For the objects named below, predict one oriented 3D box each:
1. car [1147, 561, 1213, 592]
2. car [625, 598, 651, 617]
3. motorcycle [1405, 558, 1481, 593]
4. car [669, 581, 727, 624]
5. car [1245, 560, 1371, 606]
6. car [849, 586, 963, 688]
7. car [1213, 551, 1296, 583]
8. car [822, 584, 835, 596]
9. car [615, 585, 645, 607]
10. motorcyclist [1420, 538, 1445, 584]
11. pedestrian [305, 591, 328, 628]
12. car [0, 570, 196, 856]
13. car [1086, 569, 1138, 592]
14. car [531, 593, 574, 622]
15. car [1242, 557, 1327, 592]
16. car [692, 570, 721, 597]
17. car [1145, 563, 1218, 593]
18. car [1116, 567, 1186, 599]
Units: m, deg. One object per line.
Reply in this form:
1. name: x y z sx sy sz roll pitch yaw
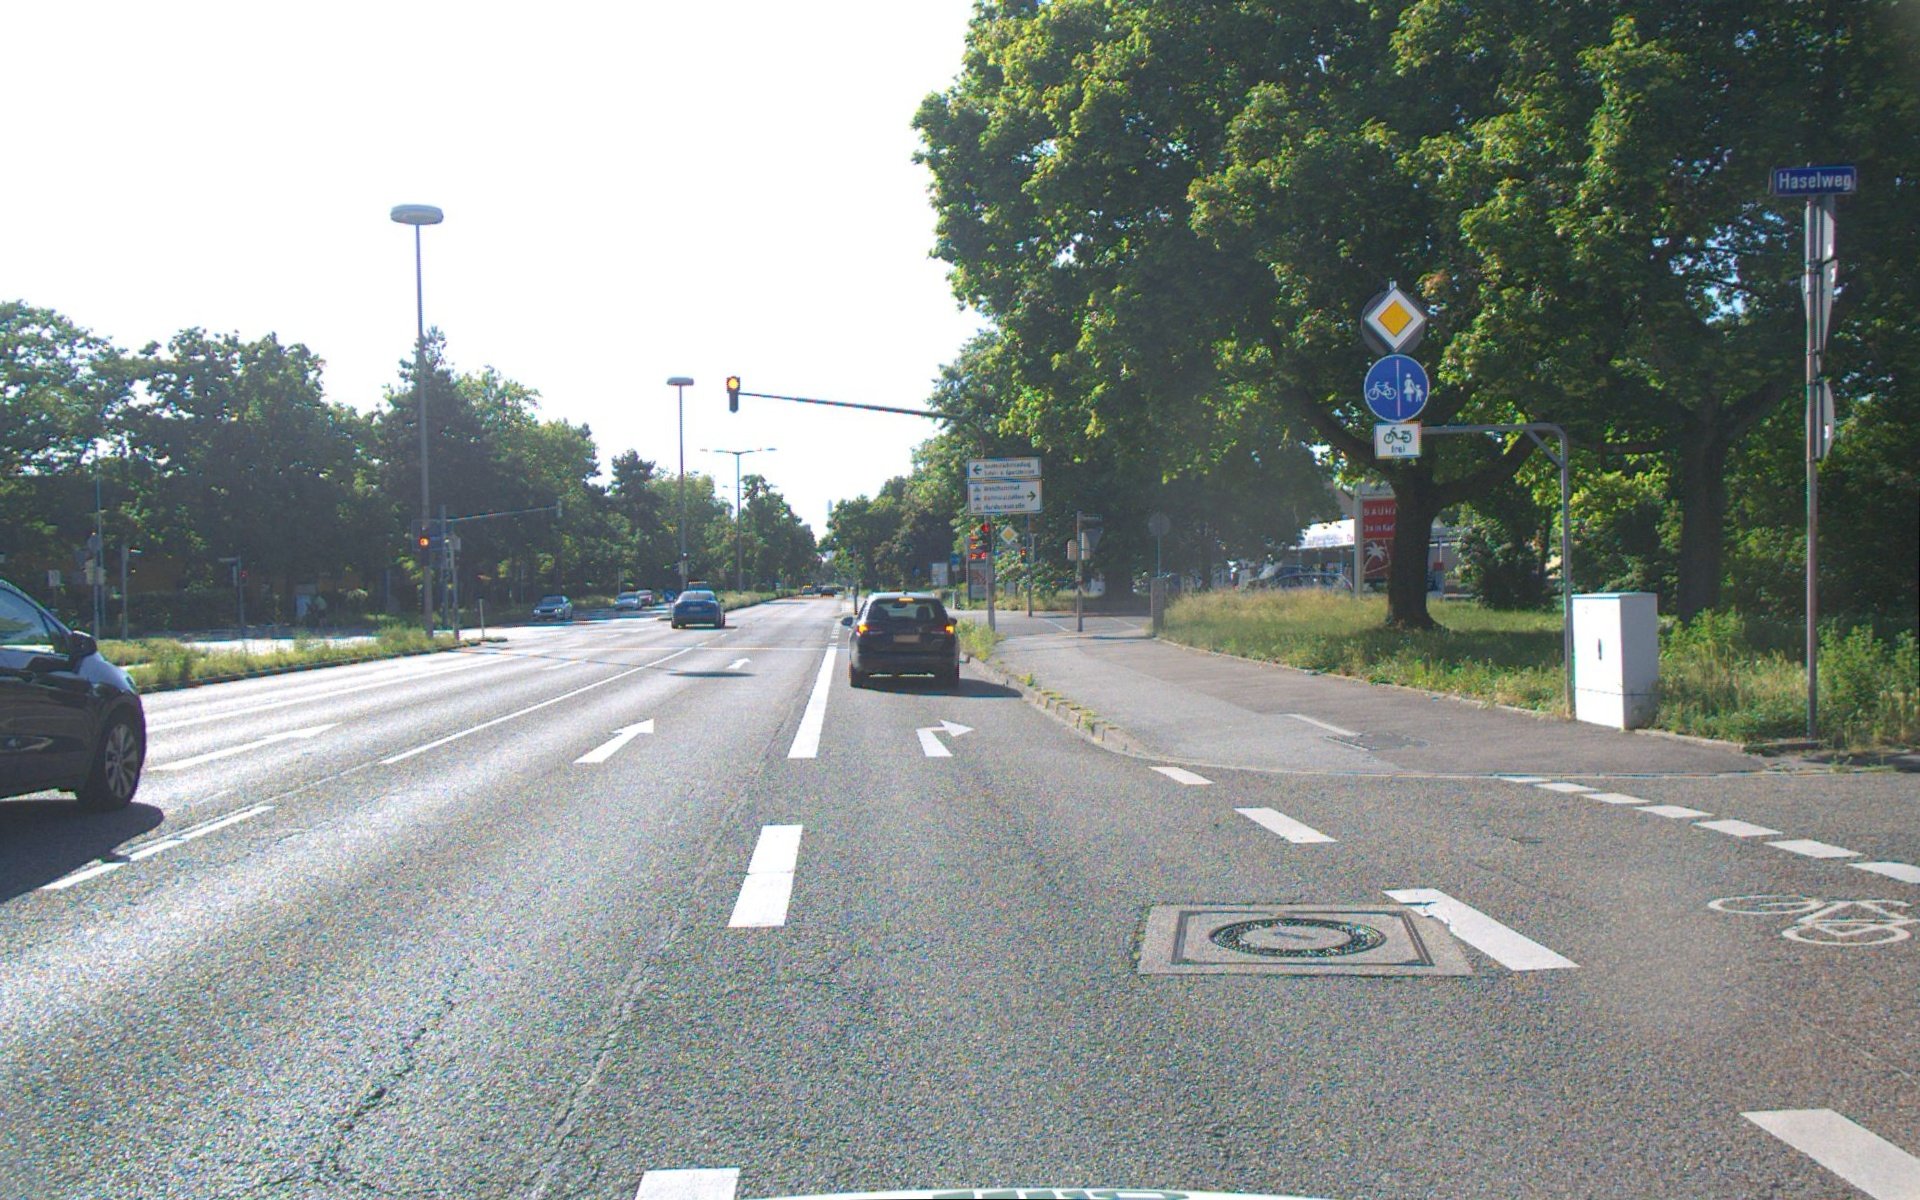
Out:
1. car: 13.193 -1.401 99.180 3.641 1.714 1.702 1 0 -7
2. car: -29.379 0.685 150.945 1.827 1.713 3.997 1 0 -4
3. motorcycle: 18.113 -0.923 62.106 2.667 1.293 0.835 1 0 12
4. car: -10.163 0.099 64.487 1.851 1.579 3.997 -1 0 -4
5. car: 13.178 -0.643 62.854 4.520 1.601 2.001 -1 -1 7
6. car: -0.944 0.567 27.129 1.721 1.535 3.805 -1 0 -4
7. car: 14.994 -1.657 84.210 3.784 1.508 1.792 1 0 -23
8. car: -17.781 -1.308 223.770 1.699 1.613 3.836 1 0 -5
9. car: -26.628 -0.292 133.465 1.827 1.713 3.997 1 0 -4
10. motorcyclist: 17.765 -1.458 62.161 0.842 1.709 0.835 1 0 12
11. pedestrian: -32.445 0.476 83.388 0.828 1.867 0.549 -2 1 0
12. car: -6.450 0.671 10.182 1.662 1.660 4.414 -1 0 -4
13. car: 11.616 -1.471 126.482 3.641 1.714 1.702 1 0 -7
14. car: -24.772 0.446 100.641 1.827 1.713 4.257 1 0 -4
15. car: 16.058 -1.252 81.929 3.784 1.640 1.792 1 0 -23
16. car: -20.531 -1.317 134.292 1.954 2.049 3.997 1 0 -4
17. car: 12.190 -1.193 91.006 3.805 1.590 1.782 1 0 -36
18. car: 10.756 -0.959 93.270 3.673 1.714 1.687 1 0 -31
